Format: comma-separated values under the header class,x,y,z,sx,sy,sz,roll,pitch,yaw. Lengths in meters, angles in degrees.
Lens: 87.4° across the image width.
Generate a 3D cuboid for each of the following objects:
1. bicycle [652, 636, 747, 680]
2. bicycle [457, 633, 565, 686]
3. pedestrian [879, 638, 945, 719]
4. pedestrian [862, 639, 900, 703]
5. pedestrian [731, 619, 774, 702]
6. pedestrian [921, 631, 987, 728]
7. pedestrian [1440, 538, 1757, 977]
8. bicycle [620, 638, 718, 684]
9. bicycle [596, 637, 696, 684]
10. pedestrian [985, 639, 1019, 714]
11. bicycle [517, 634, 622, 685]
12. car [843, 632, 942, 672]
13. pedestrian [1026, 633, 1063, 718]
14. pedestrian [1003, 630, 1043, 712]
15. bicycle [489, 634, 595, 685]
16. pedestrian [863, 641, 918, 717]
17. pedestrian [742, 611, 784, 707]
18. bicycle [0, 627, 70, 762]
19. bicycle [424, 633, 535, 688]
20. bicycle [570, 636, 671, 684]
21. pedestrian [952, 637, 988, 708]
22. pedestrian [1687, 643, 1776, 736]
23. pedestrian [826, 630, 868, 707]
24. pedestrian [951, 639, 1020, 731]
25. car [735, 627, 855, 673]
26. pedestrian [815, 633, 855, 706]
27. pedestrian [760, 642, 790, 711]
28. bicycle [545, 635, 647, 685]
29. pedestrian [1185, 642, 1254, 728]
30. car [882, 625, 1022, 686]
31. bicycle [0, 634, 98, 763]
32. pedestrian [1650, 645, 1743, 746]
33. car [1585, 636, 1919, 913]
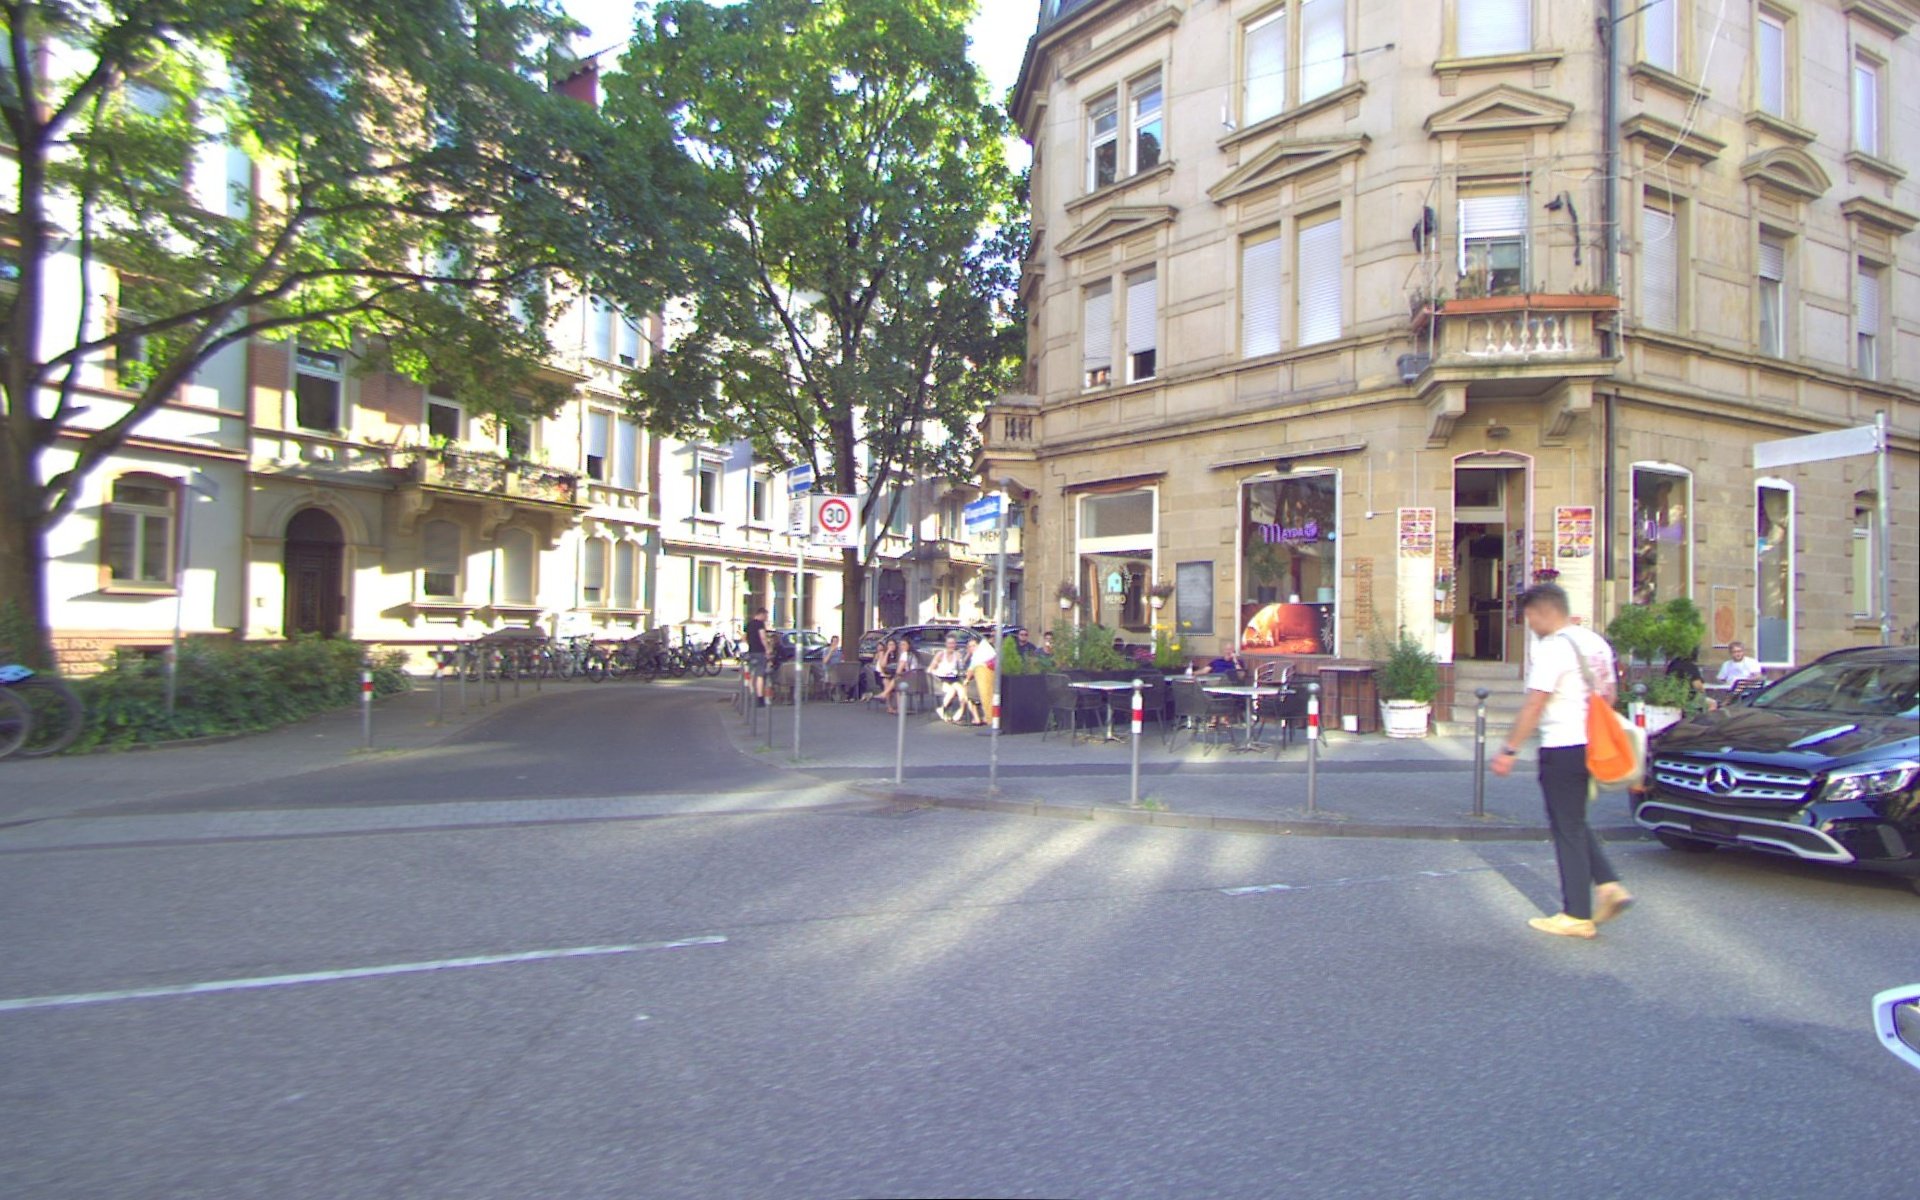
class,x,y,z,sx,sy,sz,roll,pitch,yaw
bicycle,-7.638,1.680,29.393,3.082,1.196,0.750,0,-2,31
bicycle,-10.840,1.405,24.202,3.082,1.196,0.750,0,-2,31
pedestrian,-0.797,1.272,16.569,0.739,1.265,1.018,1,-1,-27
pedestrian,-1.591,1.411,20.095,0.666,1.231,0.666,0,-3,-14
pedestrian,-4.367,1.261,21.111,0.757,1.691,0.664,1,-3,-26
pedestrian,-0.096,1.208,15.531,0.721,1.429,0.749,2,-2,-36
pedestrian,3.202,0.713,5.112,0.832,1.923,1.109,2,-2,-29
bicycle,-8.263,1.699,28.436,3.082,1.196,0.750,0,-2,31
bicycle,-8.686,1.647,27.707,3.082,1.196,0.750,0,-2,31
pedestrian,0.728,1.321,17.522,0.428,1.265,0.479,1,-1,-26
bicycle,-9.977,1.494,25.590,3.082,1.196,0.750,0,-2,31
car,-2.452,1.909,37.422,1.896,1.394,3.744,0,-2,31
pedestrian,1.406,1.247,16.754,0.429,1.385,0.478,1,-1,-33
pedestrian,1.149,1.278,18.320,0.477,1.450,0.564,1,-1,-35
bicycle,-10.390,1.449,24.920,3.082,1.196,0.750,0,-2,31
pedestrian,-1.207,1.344,17.374,0.739,1.265,0.702,1,-1,-27
pedestrian,-3.749,1.111,19.120,0.754,1.793,0.571,0,-3,-12
bicycle,-9.820,0.830,8.853,2.914,1.211,0.545,1,-2,-21
bicycle,-11.255,1.388,23.467,3.082,1.196,0.750,0,-2,31
bicycle,-9.160,1.594,27.011,3.082,1.196,0.750,0,-2,31
pedestrian,0.185,1.316,18.426,0.504,1.265,0.479,1,-1,-27
pedestrian,10.663,1.215,13.892,0.747,1.230,0.723,2,-2,-26
pedestrian,-2.197,1.313,19.463,0.753,1.460,0.667,0,-3,-12
pedestrian,0.375,1.231,14.849,0.735,1.306,0.738,2,-2,-34
car,-5.368,1.627,33.078,1.896,1.394,3.744,0,-2,31
pedestrian,-2.539,1.400,20.431,0.753,1.460,0.667,0,-3,-12
pedestrian,-3.698,1.517,20.057,0.562,1.338,0.504,0,-1,-14
bicycle,-9.561,1.545,26.308,3.082,1.196,0.750,0,-2,31
pedestrian,3.861,1.242,14.938,0.751,1.230,0.718,2,-2,-43
car,-0.206,1.523,28.002,3.760,1.582,1.804,1,-2,0
bicycle,-10.024,0.914,9.407,2.914,1.211,0.545,1,-2,-21
pedestrian,9.687,1.235,13.223,0.747,1.275,0.723,1,-2,-26
car,6.669,1.037,7.010,4.075,1.507,1.757,1,-3,-19
